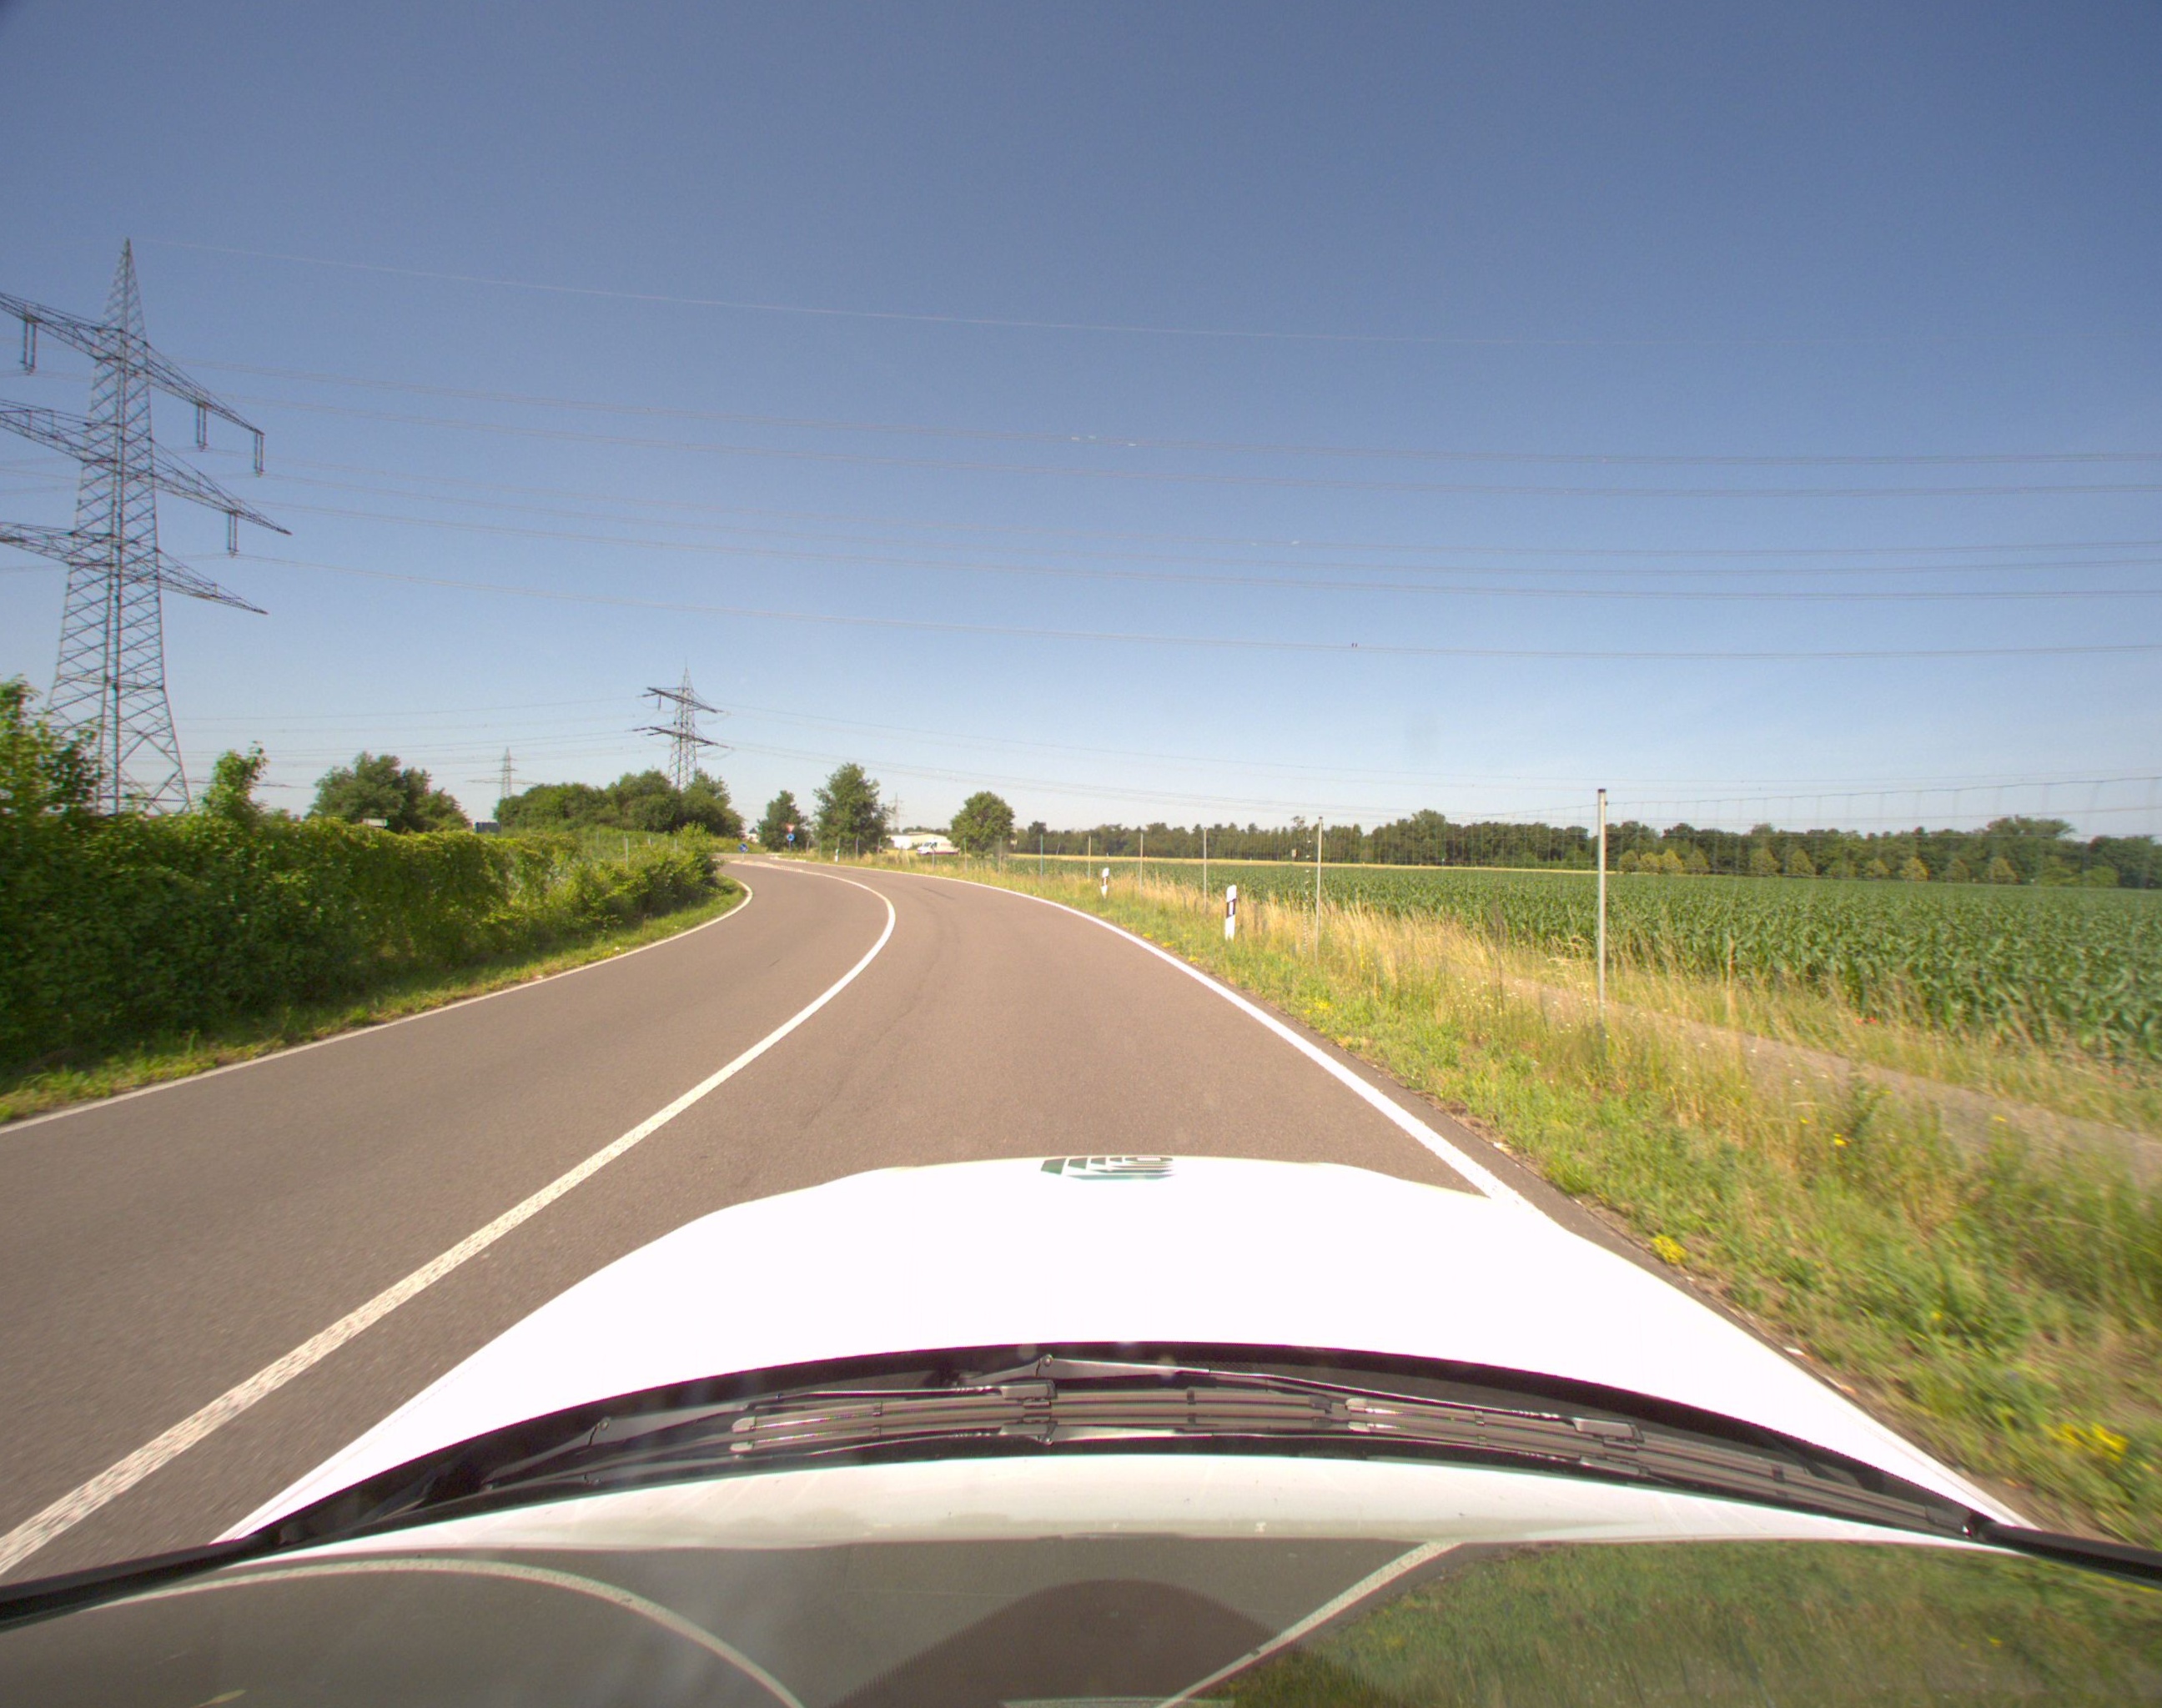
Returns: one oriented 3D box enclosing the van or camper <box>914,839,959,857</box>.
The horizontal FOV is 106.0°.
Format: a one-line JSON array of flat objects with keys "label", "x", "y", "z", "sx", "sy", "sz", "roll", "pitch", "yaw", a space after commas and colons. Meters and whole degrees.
[{"label": "van or camper", "x": -19.512, "y": -0.757, "z": 110.181, "sx": 5.797, "sy": 2.266, "sz": 1.977, "roll": 1, "pitch": 0, "yaw": -39}]
